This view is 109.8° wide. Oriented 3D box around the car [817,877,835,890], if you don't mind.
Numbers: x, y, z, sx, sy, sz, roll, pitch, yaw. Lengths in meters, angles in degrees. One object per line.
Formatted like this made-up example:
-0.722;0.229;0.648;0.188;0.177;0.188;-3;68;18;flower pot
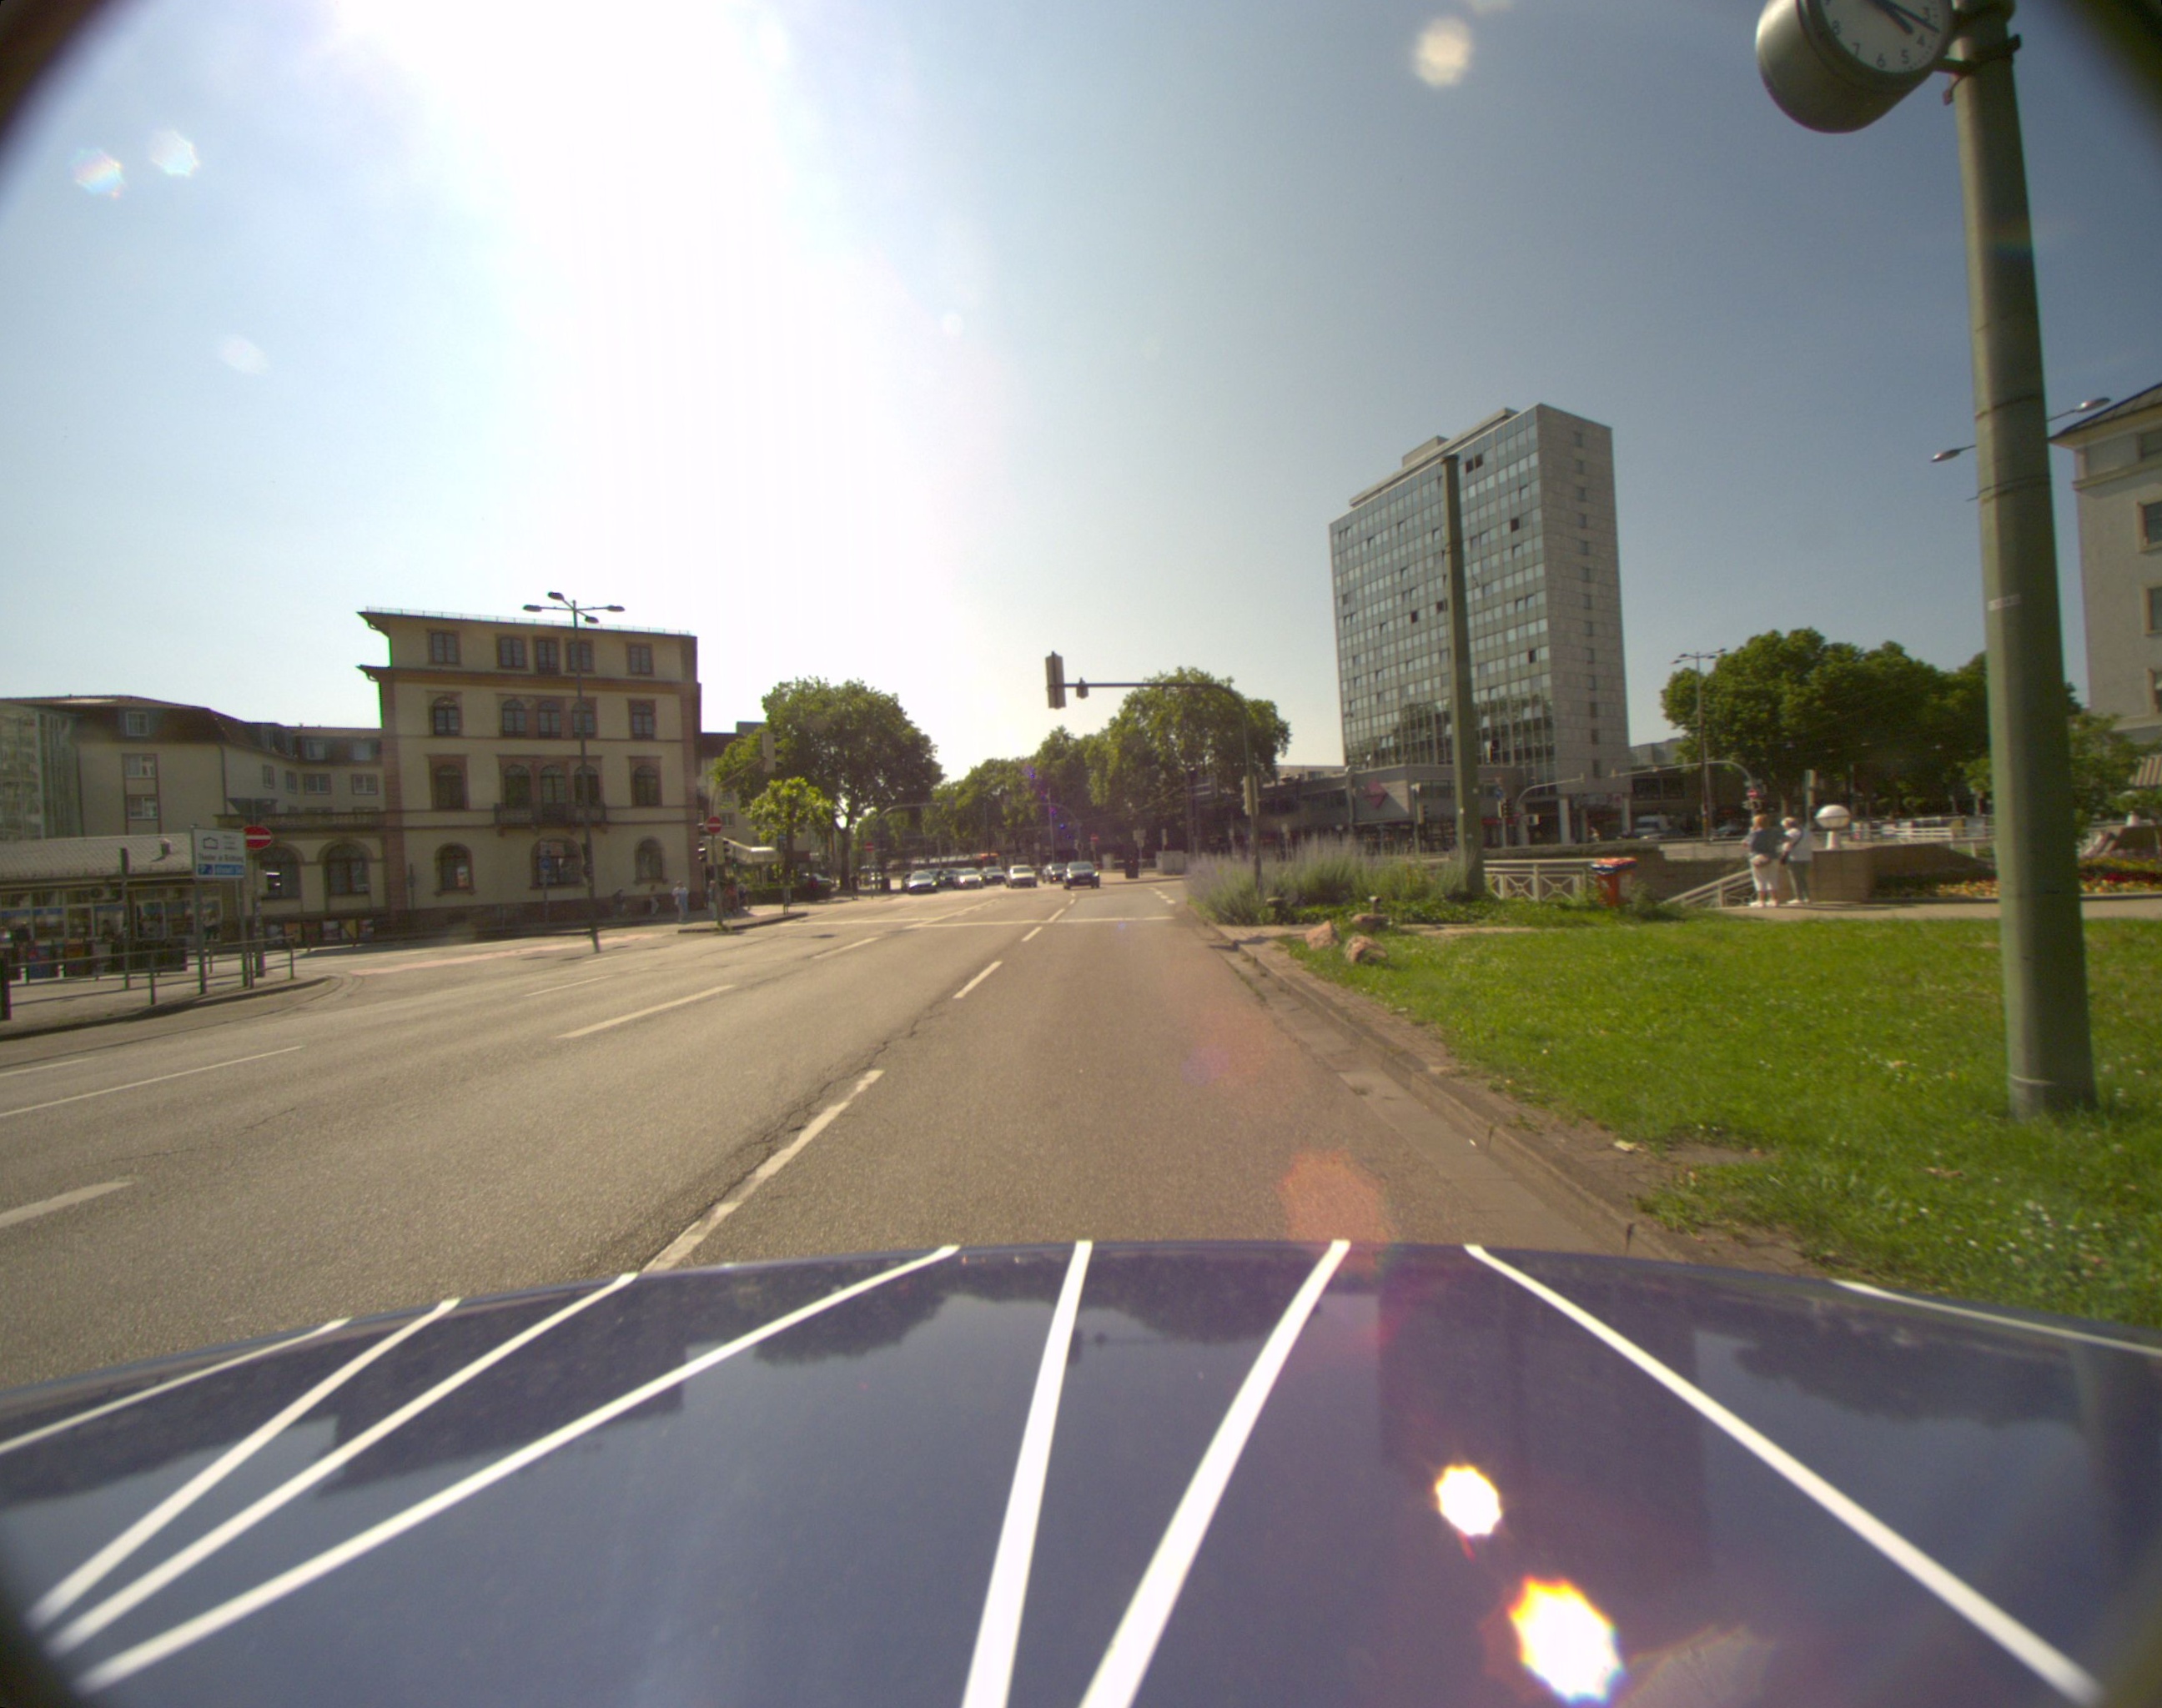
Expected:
-27.530;3.144;81.913;1.592;1.314;3.574;-3;0;-22;car

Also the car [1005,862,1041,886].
-3.894;1.317;50.309;1.721;1.491;4.487;-2;-1;-12;car

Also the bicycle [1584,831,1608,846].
49.145;-1.499;72.540;1.940;1.292;0.716;-3;2;-10;bicycle

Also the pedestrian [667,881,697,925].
-15.844;1.929;30.188;0.754;1.650;0.829;-3;0;-8;pedestrian

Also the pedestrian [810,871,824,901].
-16.443;1.970;47.261;0.727;1.795;0.651;-3;0;-20;pedestrian

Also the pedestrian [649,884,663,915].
-22.579;2.411;40.374;0.536;1.639;0.579;-4;0;-23;pedestrian

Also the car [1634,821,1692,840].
52.281;-2.114;68.327;4.165;1.451;1.881;-3;0;-13;car

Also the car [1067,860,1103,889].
0.222;1.067;40.799;1.791;1.443;4.281;-2;0;1;car

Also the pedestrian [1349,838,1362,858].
25.153;-0.528;69.504;0.824;1.825;0.670;-3;1;-27;pedestrian

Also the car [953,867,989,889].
-7.851;1.693;54.007;1.794;1.443;3.968;-2;0;-19;car

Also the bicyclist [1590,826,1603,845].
49.178;-1.781;72.539;0.684;1.758;0.696;-3;2;-9;bicyclist

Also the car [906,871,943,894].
-10.606;1.891;51.218;1.794;1.443;3.967;-2;0;-21;car

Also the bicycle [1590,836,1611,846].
48.278;-1.196;70.575;1.811;0.878;0.592;-4;2;-16;bicycle

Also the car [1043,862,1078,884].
-1.532;1.380;56.298;1.793;1.508;3.969;-2;0;-13;car

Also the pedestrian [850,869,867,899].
-13.796;1.866;47.113;0.590;1.834;0.730;-3;0;41;pedestrian

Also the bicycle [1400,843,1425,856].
30.298;-0.408;69.549;1.967;1.096;0.577;-3;0;3;bicycle

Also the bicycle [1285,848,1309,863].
17.979;0.109;63.273;1.815;1.160;0.521;-2;1;1;bicycle

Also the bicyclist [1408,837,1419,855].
30.450;-0.726;69.537;0.683;1.677;0.584;-3;0;4;bicyclist

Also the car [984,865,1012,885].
-6.826;1.686;62.254;1.793;1.514;3.969;-2;0;-13;car

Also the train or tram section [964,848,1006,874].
-13.375;1.042;105.135;2.738;3.248;8.720;-4;0;-27;train or tram section

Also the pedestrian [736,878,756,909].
-18.637;2.193;42.270;0.845;1.685;0.743;-4;0;-28;pedestrian

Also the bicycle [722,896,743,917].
-16.449;2.478;35.881;0.594;0.850;1.742;-3;0;-17;bicycle

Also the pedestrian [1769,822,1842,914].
12.505;0.233;13.120;0.851;1.501;0.474;-3;0;-14;pedestrian

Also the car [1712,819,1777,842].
52.894;-1.875;60.588;4.080;1.525;1.881;-3;0;-13;car

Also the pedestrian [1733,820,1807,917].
11.734;0.240;12.954;0.693;1.584;0.599;-3;0;-14;pedestrian

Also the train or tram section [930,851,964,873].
-21.328;1.336;120.624;2.738;3.248;8.720;-4;0;-27;train or tram section

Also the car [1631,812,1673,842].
60.439;-2.871;80.412;4.642;2.899;1.744;-3;0;-29;car

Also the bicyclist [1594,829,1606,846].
48.238;-1.521;70.567;0.684;1.518;0.582;-4;2;-16;bicyclist

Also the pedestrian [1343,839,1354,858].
25.518;-0.547;72.454;0.822;1.795;0.672;-2;1;11;pedestrian

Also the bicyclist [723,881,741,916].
-16.477;2.111;35.898;0.594;1.597;0.683;-3;0;-17;bicyclist

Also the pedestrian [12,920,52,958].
-47.640;3.864;34.504;0.724;1.594;0.719;-3;0;0;pedestrian

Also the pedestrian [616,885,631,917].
-24.605;2.514;40.848;0.536;1.639;0.673;-4;0;-23;pedestrian

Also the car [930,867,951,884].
-13.394;2.032;72.696;1.792;1.443;3.971;-2;0;-8;car

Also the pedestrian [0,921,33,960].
-47.635;3.856;33.876;0.724;1.594;0.719;-3;0;-1;pedestrian

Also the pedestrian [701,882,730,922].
-14.951;1.941;31.100;0.773;1.563;0.829;-3;0;-6;pedestrian

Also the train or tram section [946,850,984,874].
-17.347;1.189;112.860;2.738;3.248;8.720;-4;0;-27;train or tram section

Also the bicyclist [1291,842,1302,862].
17.943;-0.162;63.270;0.683;1.697;0.521;-3;1;1;bicyclist

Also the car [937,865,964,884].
-11.315;1.780;65.658;1.793;1.521;3.969;-2;0;-16;car

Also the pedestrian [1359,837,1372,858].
25.655;-0.564;68.457;0.825;1.825;0.670;-3;1;-28;pedestrian
